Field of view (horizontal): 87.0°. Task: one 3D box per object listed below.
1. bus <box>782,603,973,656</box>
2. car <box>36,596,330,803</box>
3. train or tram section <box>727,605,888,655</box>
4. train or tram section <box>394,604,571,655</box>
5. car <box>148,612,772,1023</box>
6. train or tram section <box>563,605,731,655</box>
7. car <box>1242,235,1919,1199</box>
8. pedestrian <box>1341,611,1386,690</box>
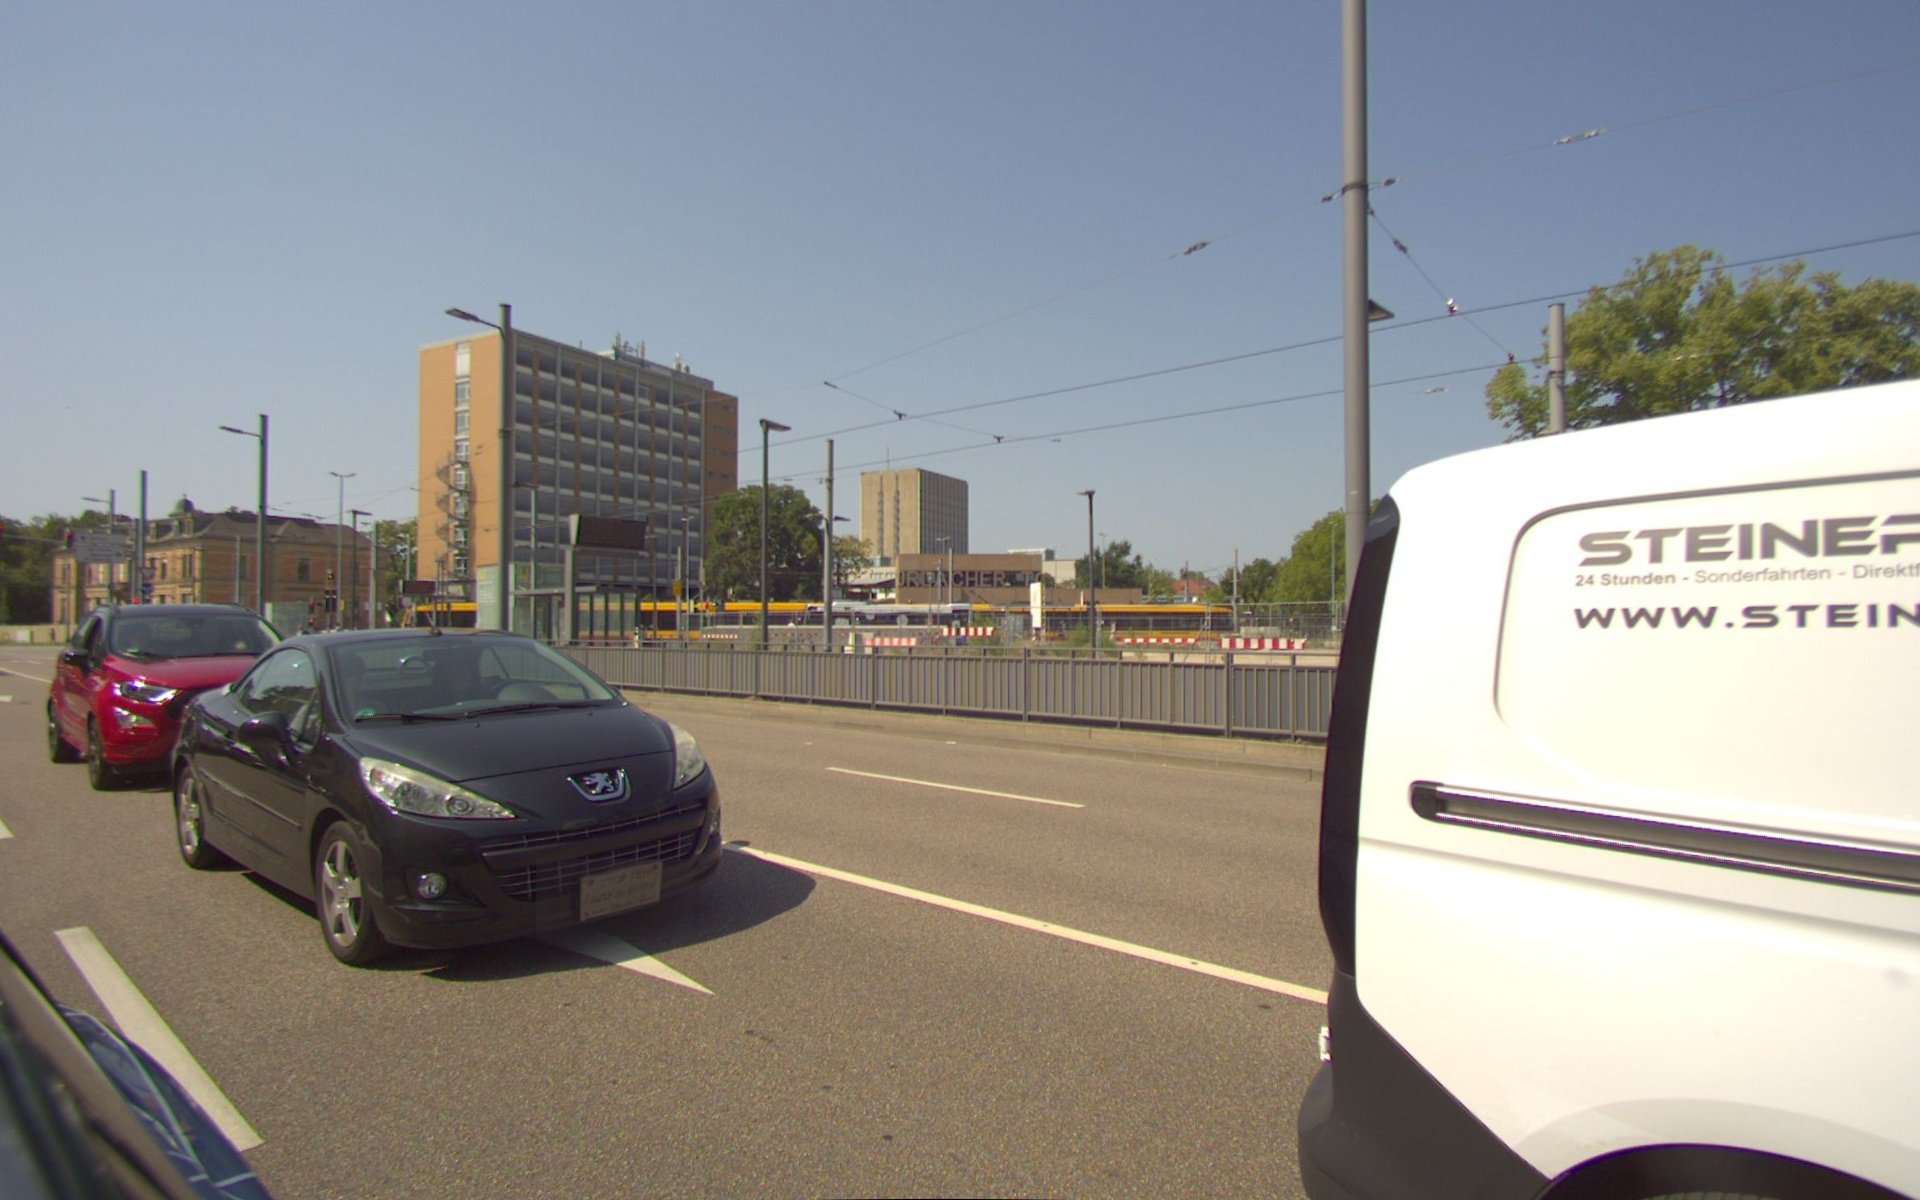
[{"bbox_3d":[-5.836,2.054,72.042,13.204,3.319,3.354,-1,0,-5],"label":"bus"},{"bbox_3d":[-7.725,0.820,9.924,3.967,1.633,1.612,-2,-1,42],"label":"car"},{"bbox_3d":[-11.742,2.303,78.473,12.179,3.794,2.002,0,-2,-5],"label":"train or tram section"},{"bbox_3d":[-35.983,2.243,76.538,12.179,3.794,2.002,0,-2,-5],"label":"train or tram section"},{"bbox_3d":[-2.879,0.810,5.446,3.799,1.424,1.671,-2,-1,41],"label":"car"},{"bbox_3d":[-23.854,2.306,77.506,12.179,3.794,2.002,0,-2,-5],"label":"train or tram section"},{"bbox_3d":[2.640,0.474,0.955,4.237,1.834,1.729,-2,-1,41],"label":"car"},{"bbox_3d":[9.400,1.176,23.592,0.761,1.801,0.735,-2,-3,41],"label":"pedestrian"}]
